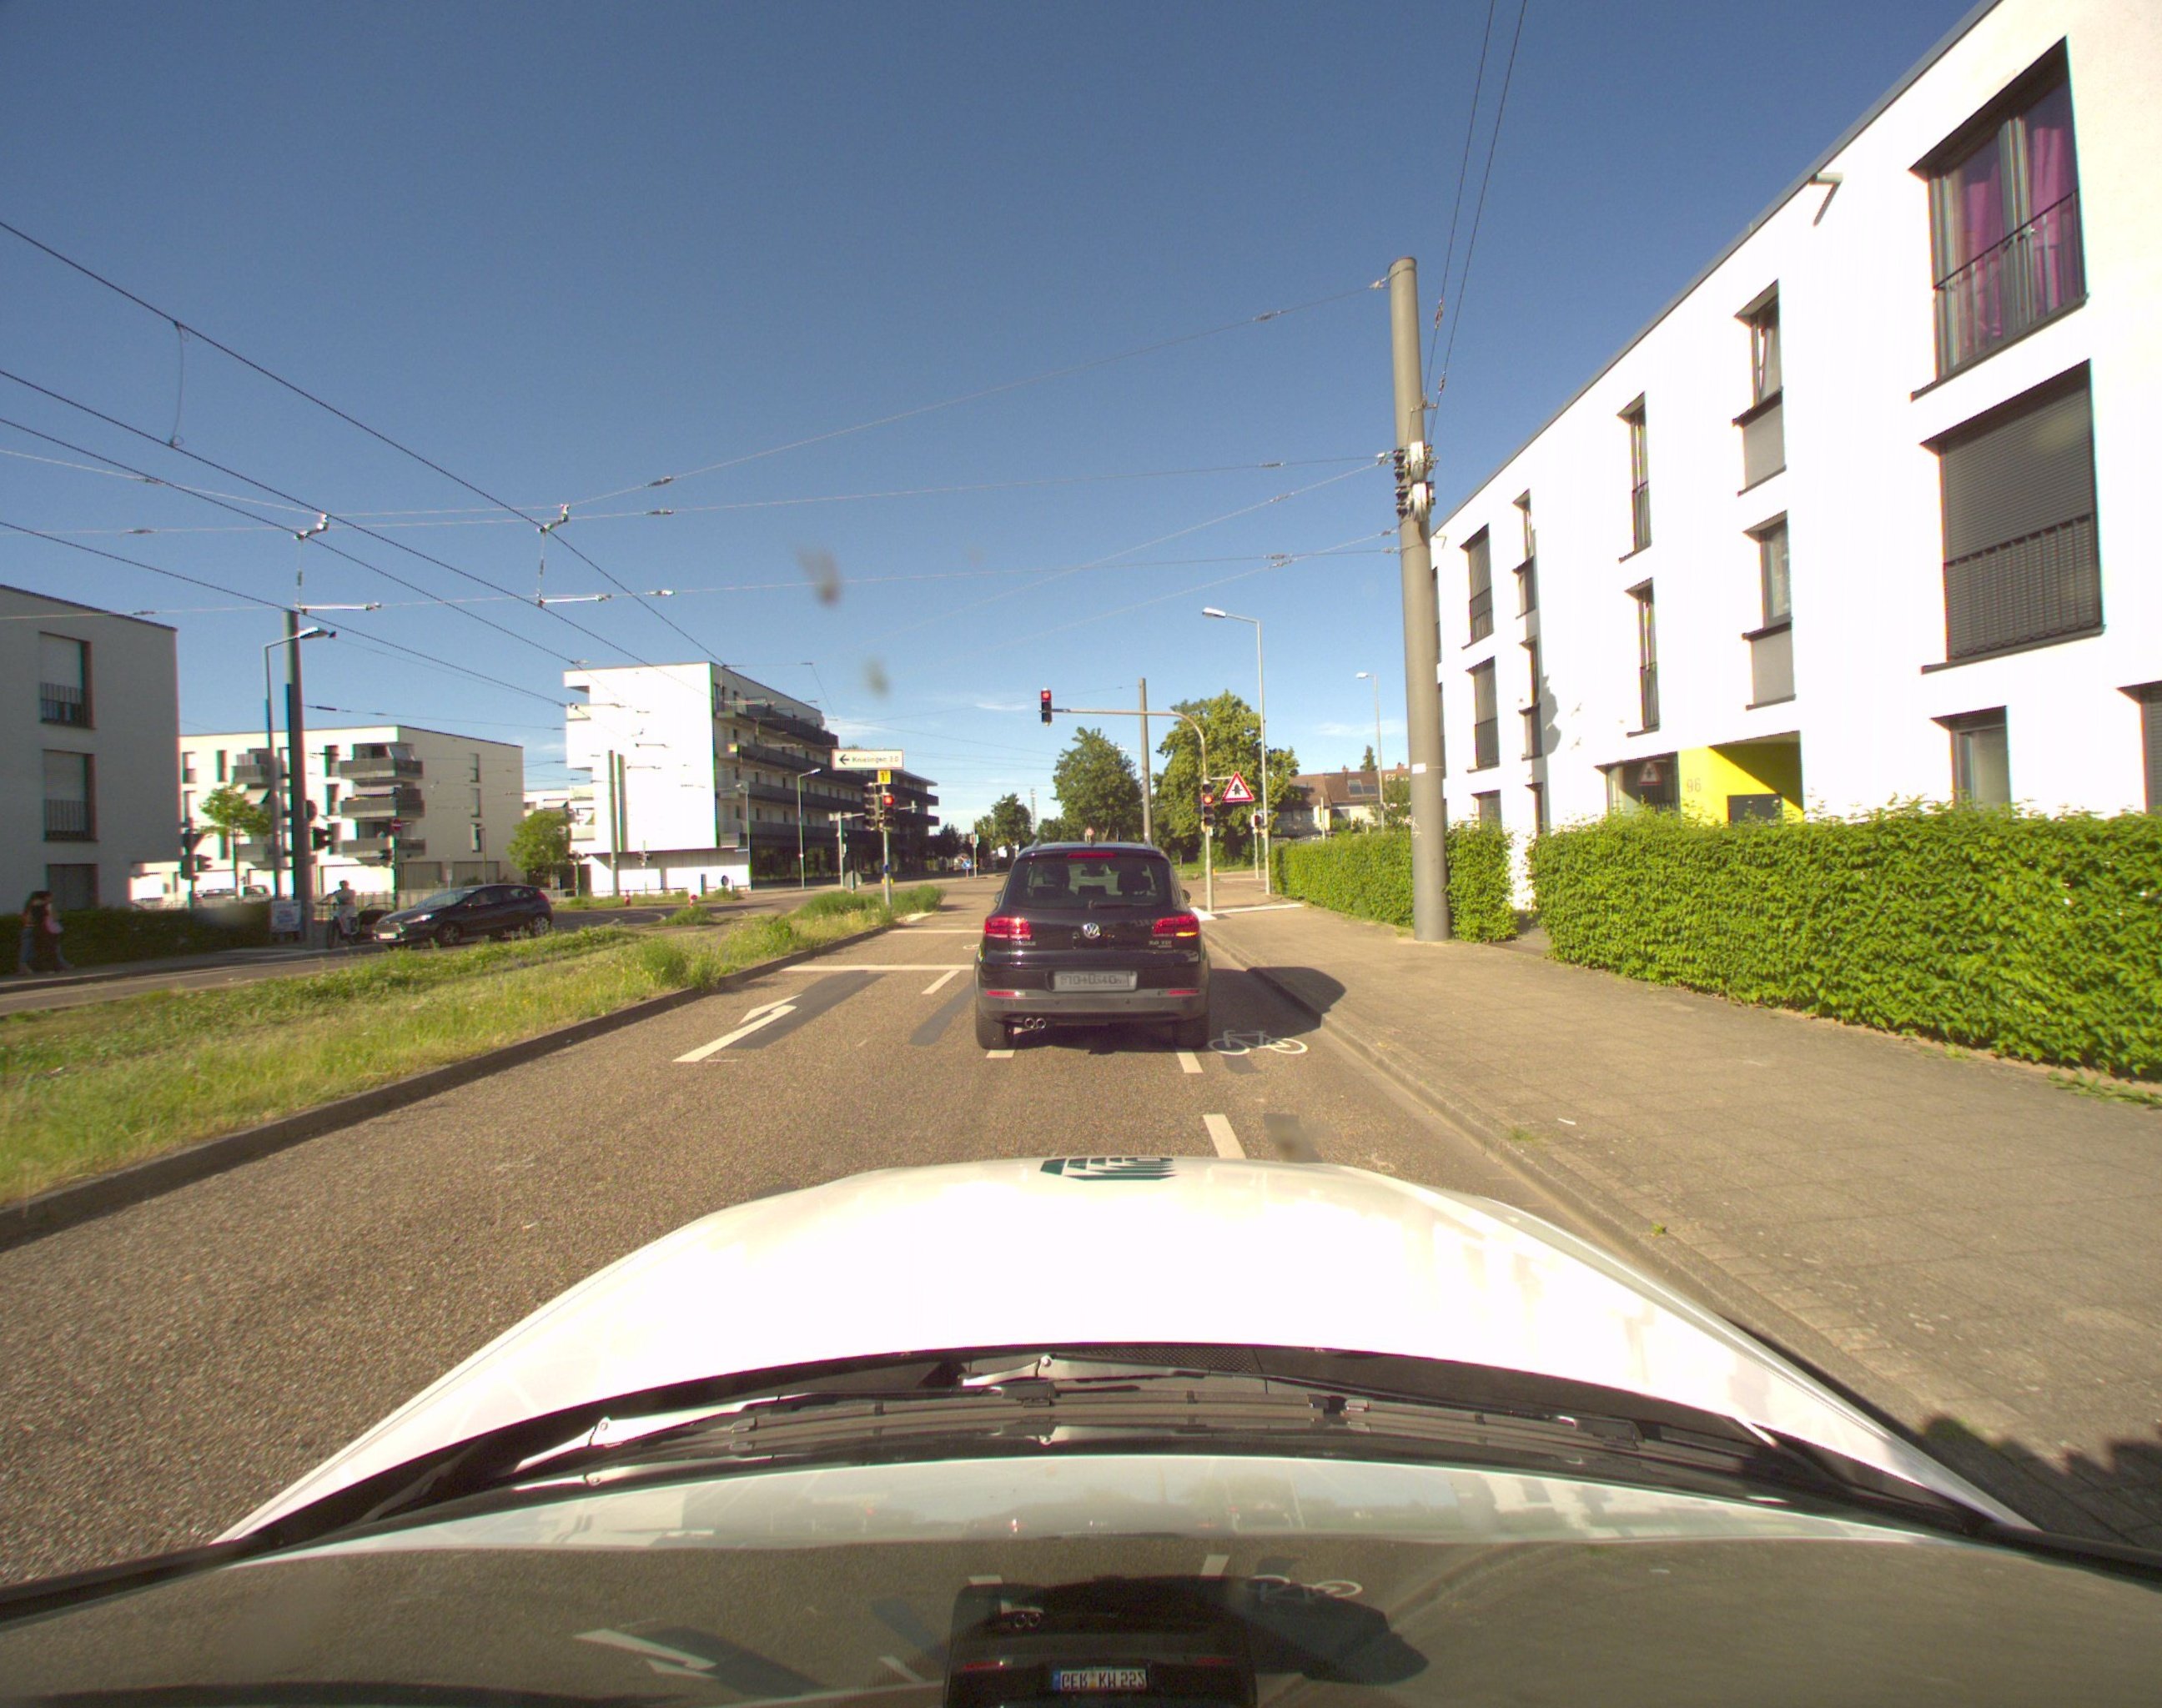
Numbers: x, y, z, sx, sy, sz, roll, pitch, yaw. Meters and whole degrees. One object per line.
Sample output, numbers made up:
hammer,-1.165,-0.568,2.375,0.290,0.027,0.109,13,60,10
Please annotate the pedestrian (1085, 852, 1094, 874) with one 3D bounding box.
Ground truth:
pedestrian,0.607,0.699,60.912,0.600,1.640,0.530,-1,0,6

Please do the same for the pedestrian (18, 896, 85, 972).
pedestrian,-20.552,1.583,16.268,0.555,1.464,0.612,-1,0,2

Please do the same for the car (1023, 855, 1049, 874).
car,-3.529,0.778,63.966,1.745,1.387,4.000,-1,0,0

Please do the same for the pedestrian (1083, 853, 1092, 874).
pedestrian,0.506,0.719,60.377,0.600,1.565,0.530,-1,0,6

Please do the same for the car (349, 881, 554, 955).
car,-15.721,1.547,20.602,1.691,1.430,3.755,-4,0,15

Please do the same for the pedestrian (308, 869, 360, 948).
pedestrian,-19.735,1.429,21.534,0.761,2.013,0.667,-1,0,-12

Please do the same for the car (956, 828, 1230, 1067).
car,0.104,0.651,7.721,1.899,1.643,4.000,-1,0,0

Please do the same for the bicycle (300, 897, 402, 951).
bicycle,-19.902,1.874,22.299,0.794,1.221,2.692,-1,0,-11

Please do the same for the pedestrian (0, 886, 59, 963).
pedestrian,-21.127,1.386,16.227,0.555,1.464,0.743,-1,0,3

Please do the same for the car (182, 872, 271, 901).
car,-58.748,2.212,56.024,3.974,1.838,2.000,-1,0,0
